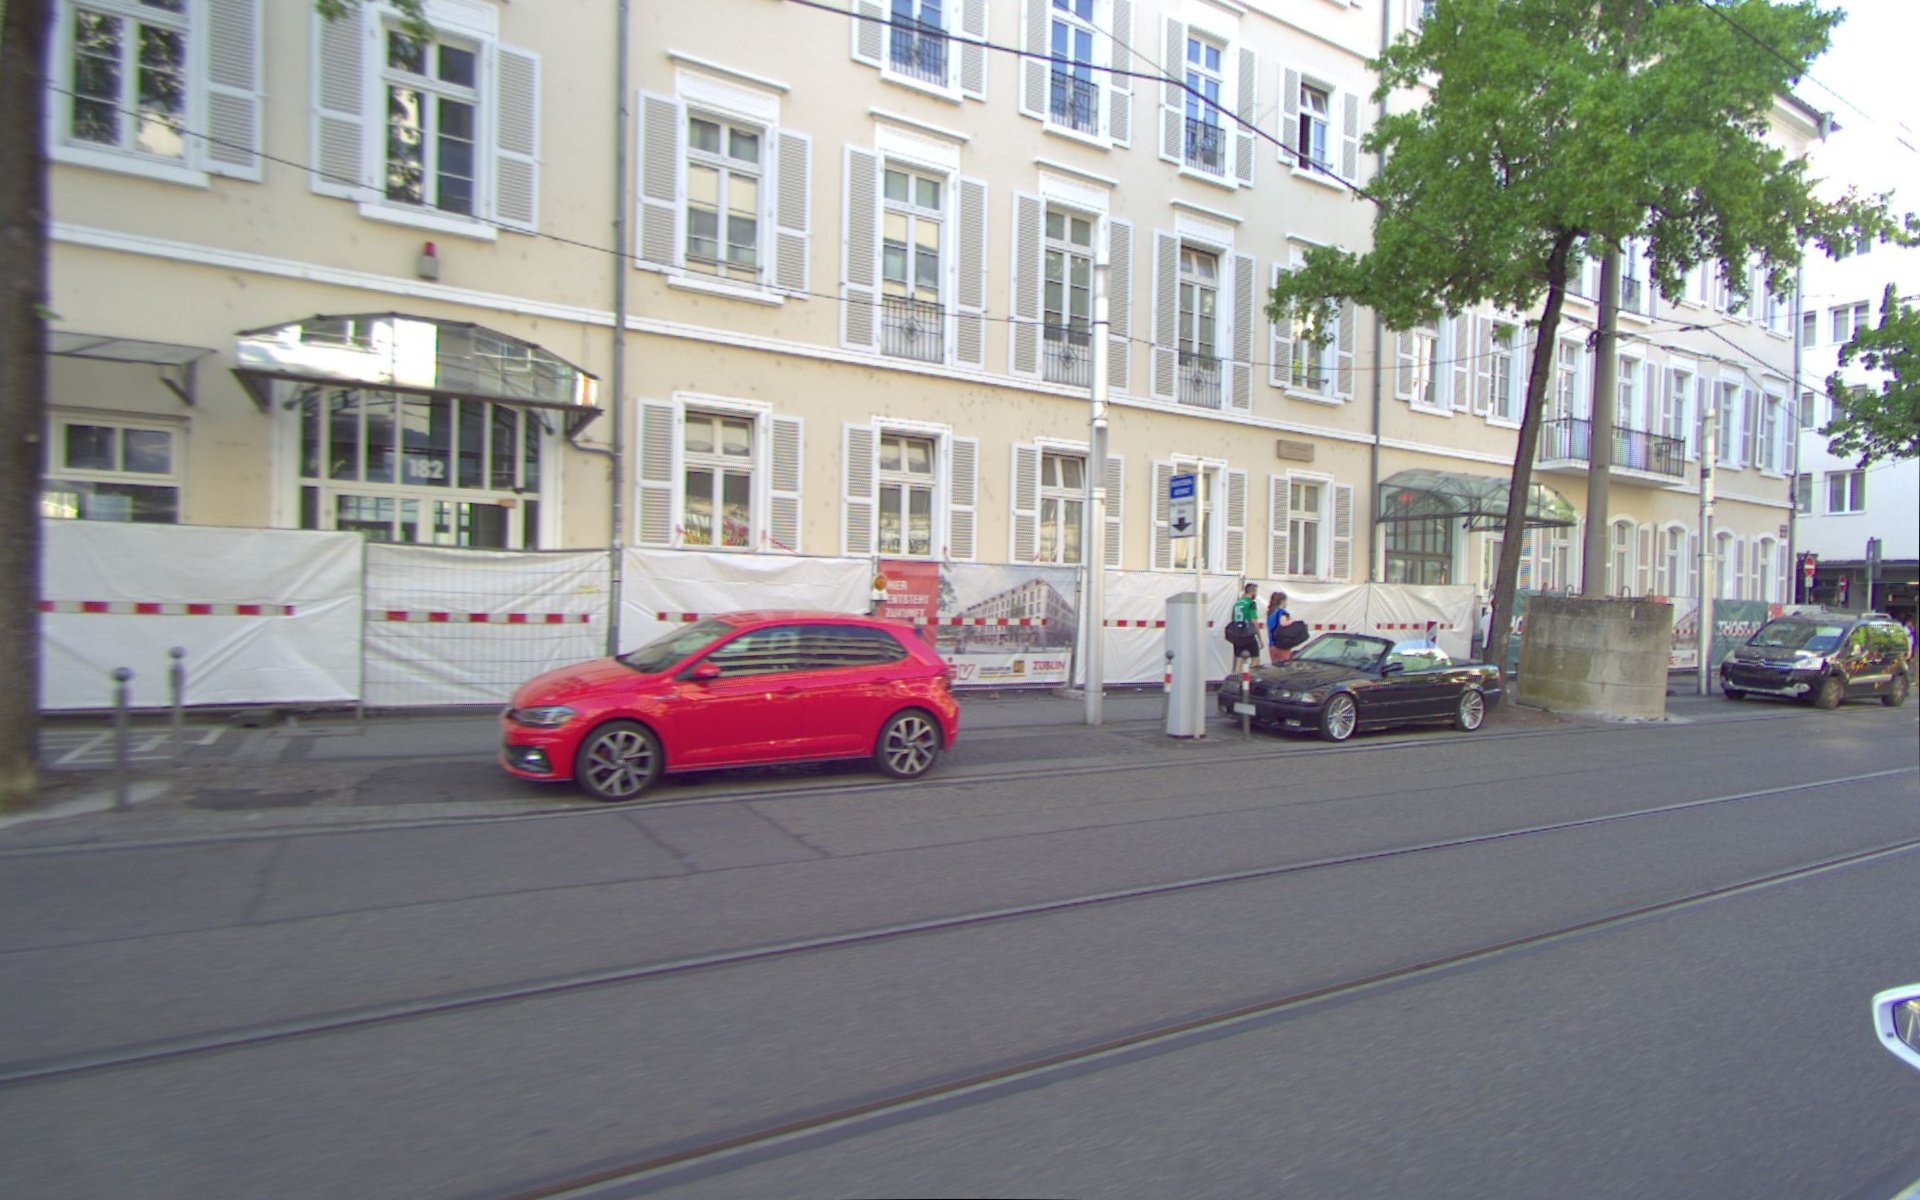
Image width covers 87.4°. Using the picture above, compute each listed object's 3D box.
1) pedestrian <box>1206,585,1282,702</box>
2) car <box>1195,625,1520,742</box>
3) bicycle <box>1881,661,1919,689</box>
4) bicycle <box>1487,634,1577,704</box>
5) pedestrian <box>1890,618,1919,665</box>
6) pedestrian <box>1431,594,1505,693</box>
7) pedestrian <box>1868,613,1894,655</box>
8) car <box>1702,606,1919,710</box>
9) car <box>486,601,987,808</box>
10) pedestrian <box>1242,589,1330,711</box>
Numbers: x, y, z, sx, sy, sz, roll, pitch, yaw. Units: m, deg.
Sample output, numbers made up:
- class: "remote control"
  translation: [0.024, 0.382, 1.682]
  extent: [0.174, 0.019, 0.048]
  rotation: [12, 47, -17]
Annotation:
- class: "pedestrian"
  translation: [4.681, 0.700, 16.572]
  extent: [0.866, 1.837, 0.715]
  rotation: [1, 3, -30]
- class: "car"
  translation: [5.485, 1.051, 13.709]
  extent: [4.455, 1.262, 1.709]
  rotation: [1, 2, -31]
- class: "bicycle"
  translation: [24.304, 1.895, 24.935]
  extent: [1.265, 0.617, 1.789]
  rotation: [1, 1, -26]
- class: "bicycle"
  translation: [10.599, 1.245, 18.583]
  extent: [2.031, 1.137, 0.751]
  rotation: [1, 3, -41]
- class: "pedestrian"
  translation: [34.401, 1.496, 36.559]
  extent: [0.787, 1.636, 0.861]
  rotation: [2, 3, 43]
- class: "pedestrian"
  translation: [9.753, 0.815, 19.292]
  extent: [0.972, 1.816, 0.771]
  rotation: [1, 2, -28]
- class: "pedestrian"
  translation: [36.228, 1.347, 39.531]
  extent: [0.608, 1.625, 0.405]
  rotation: [1, 0, 4]
- class: "car"
  translation: [17.239, 1.115, 20.299]
  extent: [4.503, 1.857, 1.849]
  rotation: [1, 1, -29]
- class: "car"
  translation: [-1.949, 0.814, 9.044]
  extent: [4.091, 1.424, 1.652]
  rotation: [1, 2, -29]
- class: "pedestrian"
  translation: [5.103, 0.758, 15.737]
  extent: [0.874, 1.806, 0.861]
  rotation: [1, 3, -30]
